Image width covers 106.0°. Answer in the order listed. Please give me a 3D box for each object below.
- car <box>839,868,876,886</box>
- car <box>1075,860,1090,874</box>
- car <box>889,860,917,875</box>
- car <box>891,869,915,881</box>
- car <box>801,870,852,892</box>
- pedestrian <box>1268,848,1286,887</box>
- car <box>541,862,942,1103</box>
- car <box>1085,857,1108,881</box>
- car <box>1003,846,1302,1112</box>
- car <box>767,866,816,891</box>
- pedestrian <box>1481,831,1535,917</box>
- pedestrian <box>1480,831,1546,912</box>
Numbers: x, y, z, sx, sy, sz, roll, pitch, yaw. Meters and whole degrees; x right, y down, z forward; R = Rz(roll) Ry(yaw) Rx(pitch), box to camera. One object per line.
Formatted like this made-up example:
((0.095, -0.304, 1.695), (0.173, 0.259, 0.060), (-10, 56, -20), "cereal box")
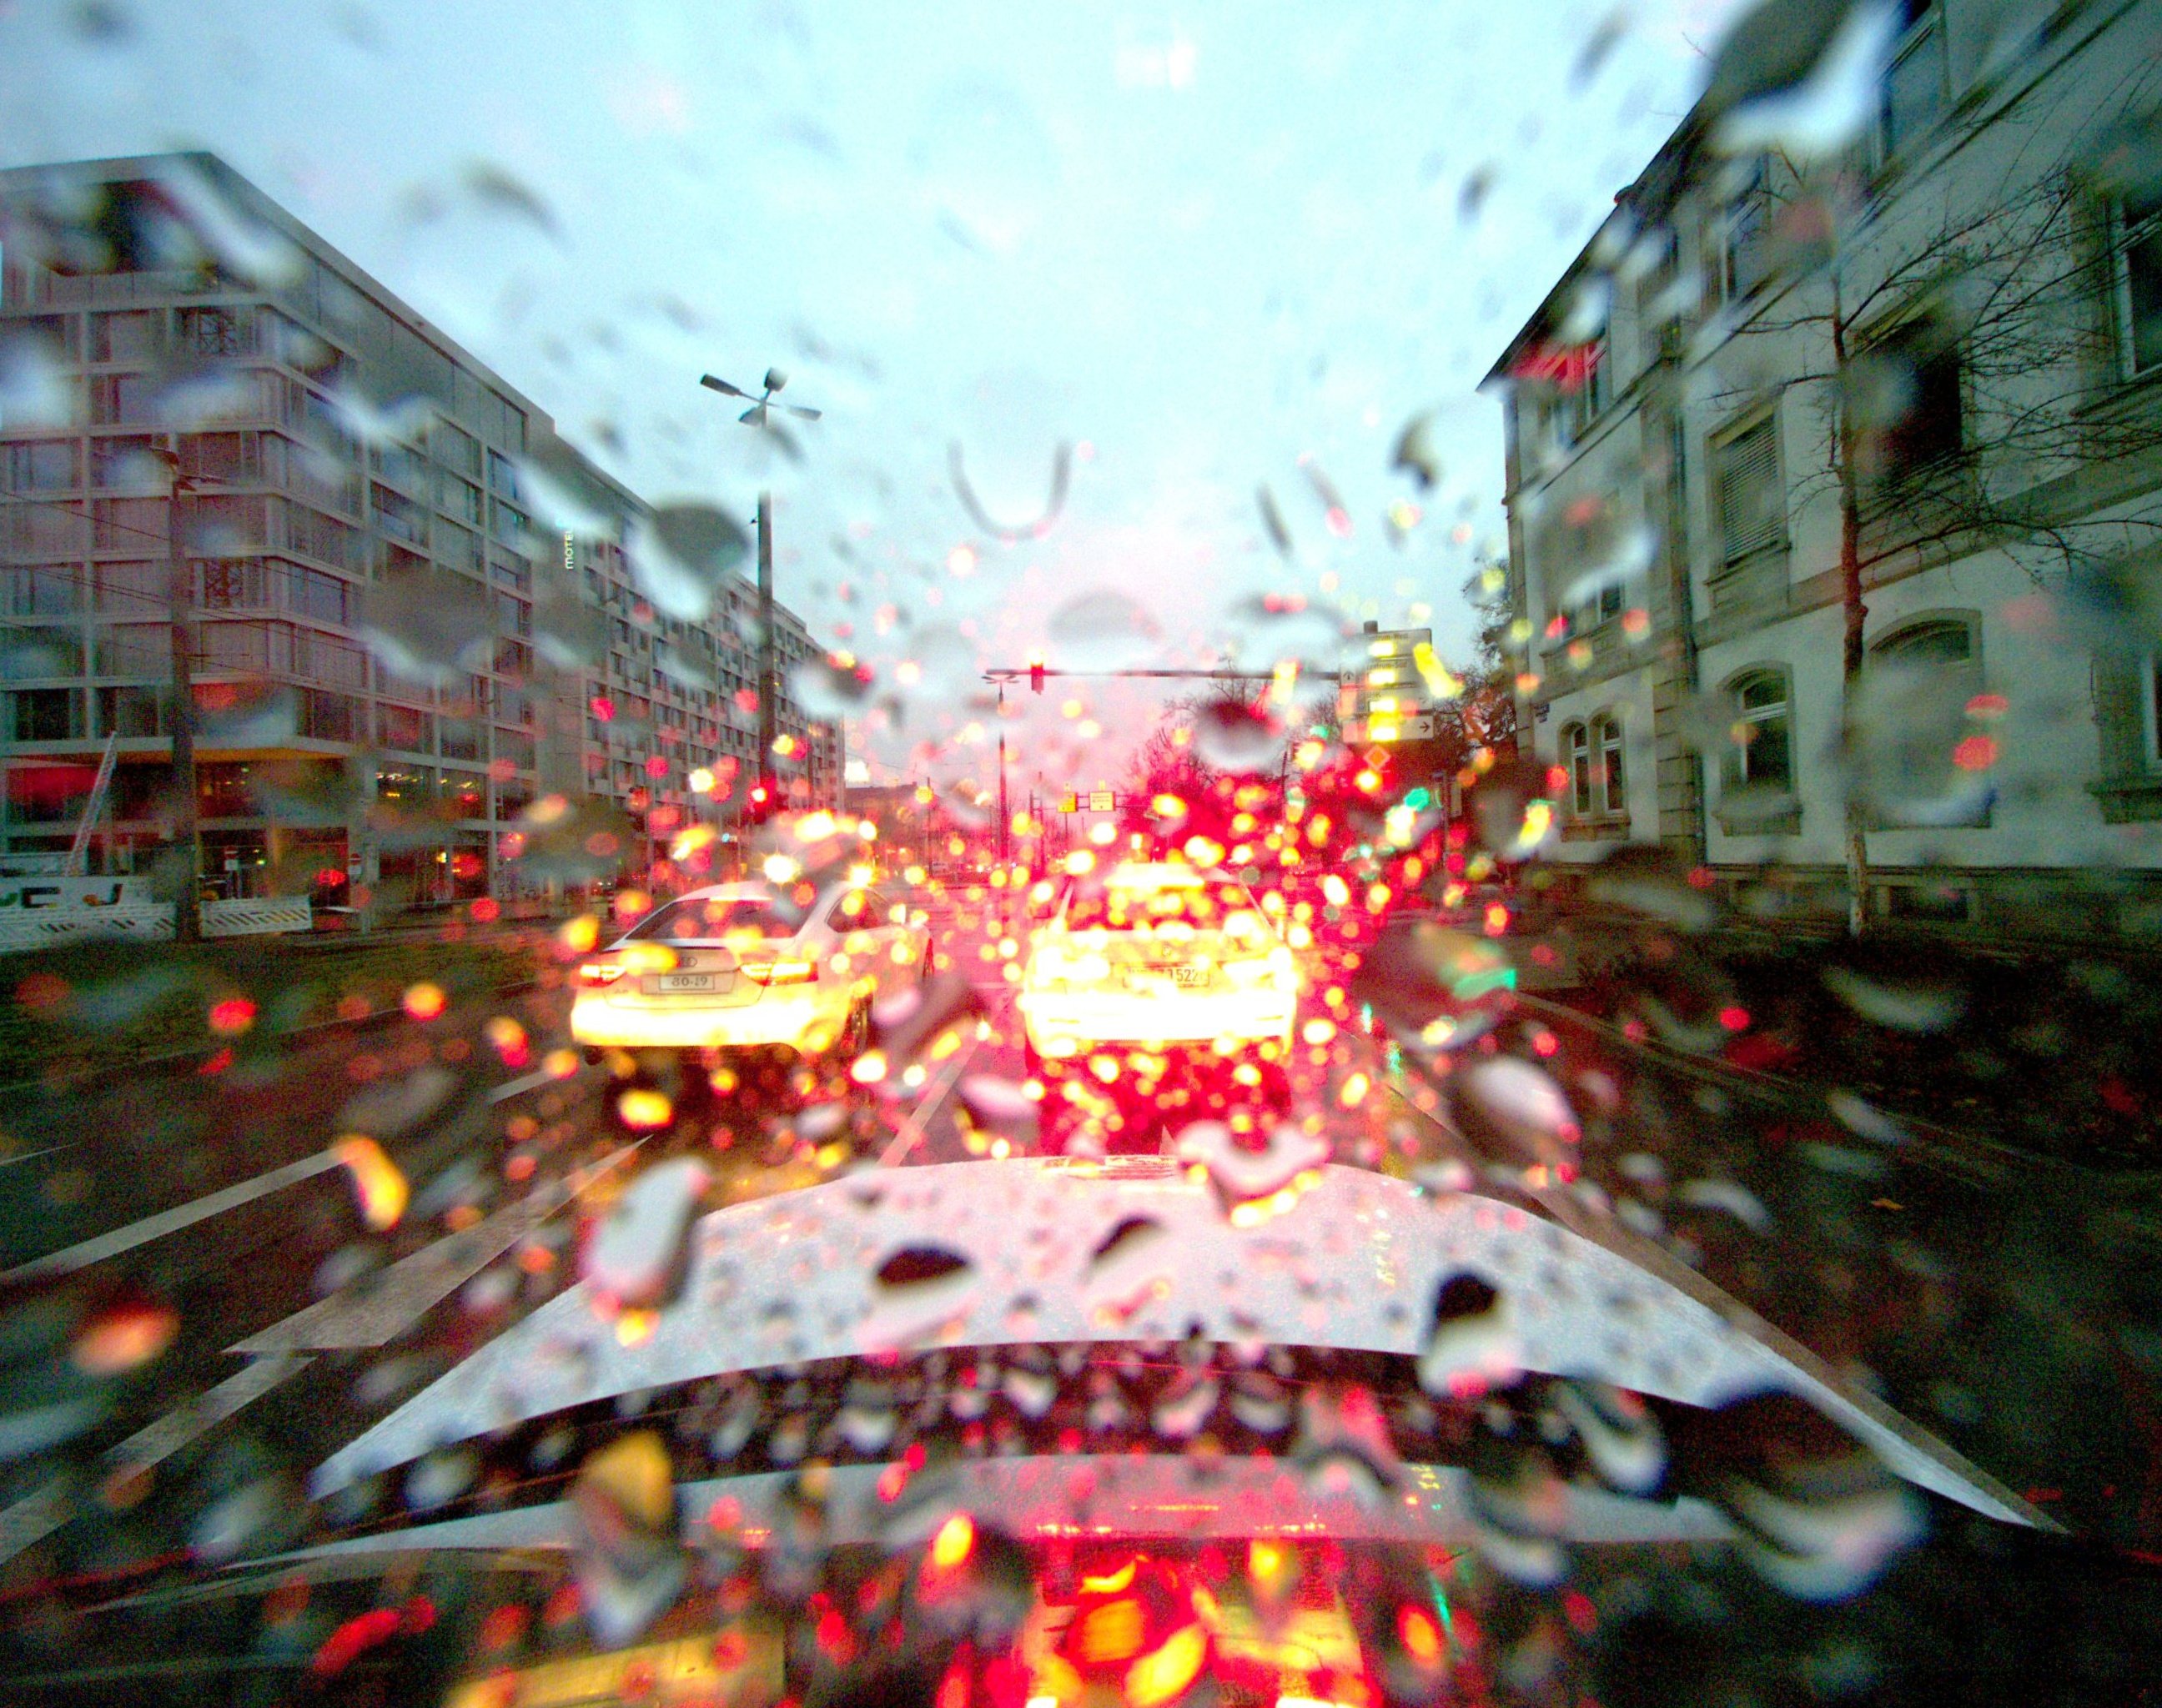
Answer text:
((-19.688, 1.988, 71.935), (1.988, 1.462, 5.092), (0, -1, -1), "car")
((0.246, 1.846, 116.057), (1.986, 2.014, 4.001), (0, -1, 2), "car")
((-18.587, 1.416, 85.321), (1.988, 1.462, 5.090), (0, -1, -2), "car")
((-23.142, 2.721, 105.973), (1.987, 1.462, 5.094), (0, -1, 0), "car")
((-18.701, 1.934, 60.051), (1.986, 1.462, 5.097), (0, -1, 2), "car")
((9.567, 0.676, 39.797), (0.671, 1.879, 0.715), (0, -1, -1), "pedestrian")
((-2.460, 0.814, 7.173), (1.754, 1.470, 4.250), (0, -1, 0), "car")
((1.405, 1.318, 71.567), (1.986, 2.014, 4.001), (0, -1, 2), "car")
((0.417, 0.750, 6.932), (1.754, 1.552, 4.250), (0, -1, 0), "car")
((-21.813, 1.789, 61.602), (1.873, 1.789, 4.602), (0, -1, 3), "car")
((8.117, 0.366, 15.514), (0.775, 1.579, 1.016), (-1, -1, 21), "pedestrian")
((9.048, 0.363, 17.083), (0.781, 1.632, 1.009), (0, -1, -7), "pedestrian")
